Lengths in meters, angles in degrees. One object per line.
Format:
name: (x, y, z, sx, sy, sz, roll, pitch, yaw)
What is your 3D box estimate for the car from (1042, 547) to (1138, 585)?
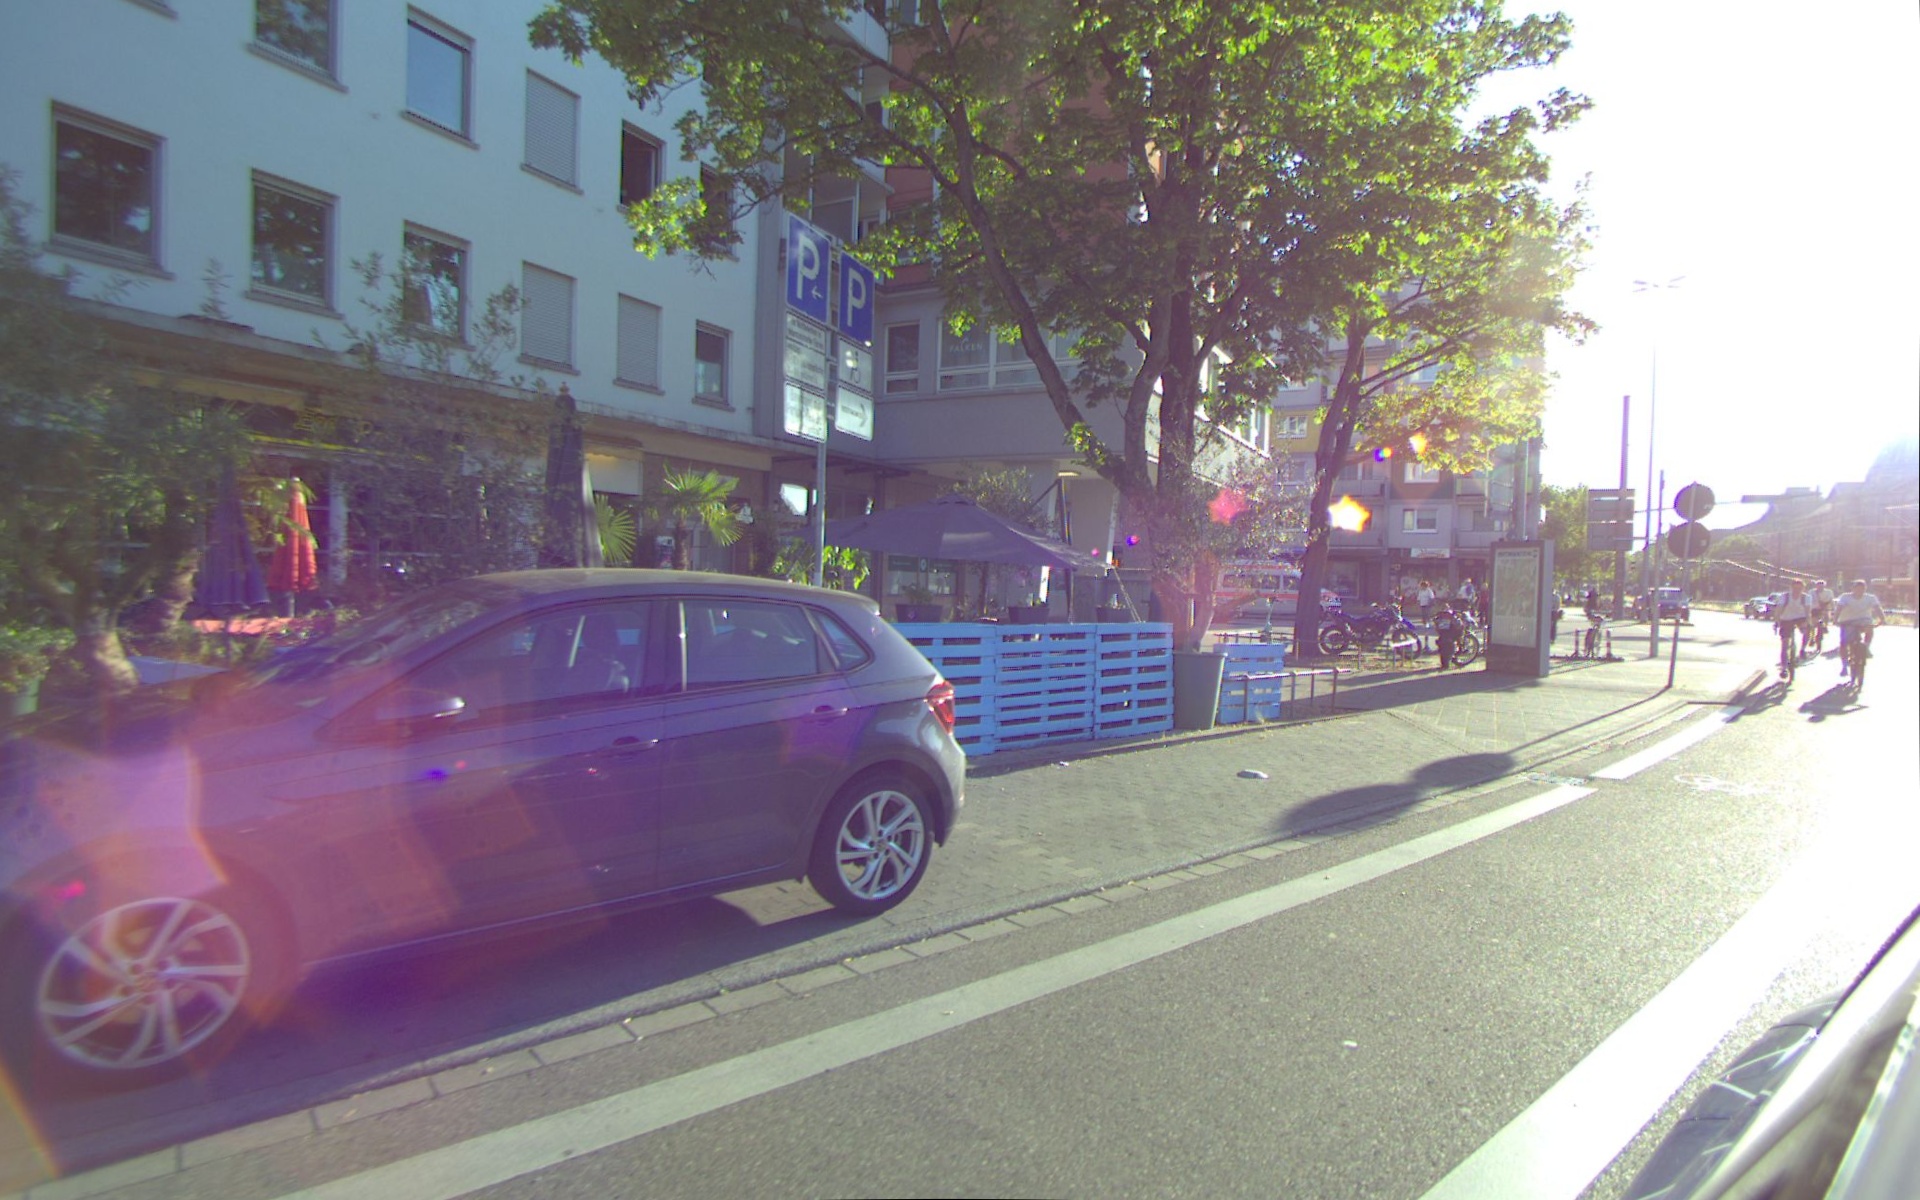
car: (5.911, -1.552, 46.072, 4.048, 1.590, 1.581, 2, 1, 28)

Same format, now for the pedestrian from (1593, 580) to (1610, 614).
pedestrian: (32.786, -0.165, 51.743, 0.659, 1.725, 1.059, 2, 1, 33)

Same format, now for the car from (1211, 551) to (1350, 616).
car: (13.323, -0.727, 42.133, 5.221, 2.513, 1.906, 2, 1, 29)

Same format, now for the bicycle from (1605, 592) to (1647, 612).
bicycle: (37.699, 0.098, 57.317, 1.855, 1.074, 0.601, 2, 1, 27)

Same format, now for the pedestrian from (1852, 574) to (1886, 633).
pedestrian: (26.443, 0.093, 29.453, 0.676, 1.669, 0.889, 1, 1, 40)

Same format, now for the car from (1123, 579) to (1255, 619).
car: (8.827, -0.061, 39.107, 4.639, 1.357, 1.820, 2, 1, 31)

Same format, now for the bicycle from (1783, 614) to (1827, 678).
bicycle: (15.120, 0.801, 18.118, 0.574, 1.041, 1.830, 1, 1, 40)

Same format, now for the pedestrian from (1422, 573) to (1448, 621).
pedestrian: (17.130, -0.122, 36.487, 0.724, 1.683, 0.896, 2, 1, 30)

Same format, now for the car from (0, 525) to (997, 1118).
car: (-1.880, 0.531, 4.178, 3.829, 1.489, 1.733, 0, 4, -39)

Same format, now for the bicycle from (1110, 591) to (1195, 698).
bicycle: (2.325, 0.496, 12.066, 0.418, 1.172, 1.736, 2, 1, 30)

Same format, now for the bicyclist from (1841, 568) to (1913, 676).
bicyclist: (16.188, 0.361, 17.895, 0.825, 1.830, 1.042, 2, 1, 39)

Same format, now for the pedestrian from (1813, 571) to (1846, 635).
pedestrian: (22.946, 0.065, 26.722, 0.637, 1.669, 0.831, 1, 1, 41)

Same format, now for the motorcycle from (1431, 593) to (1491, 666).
motorcycle: (9.319, 0.500, 18.797, 0.664, 1.258, 2.173, 2, 1, 35)

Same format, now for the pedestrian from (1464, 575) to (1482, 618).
pedestrian: (20.808, -0.157, 41.048, 0.565, 1.722, 0.803, 2, 1, 30)

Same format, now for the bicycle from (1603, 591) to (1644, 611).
bicycle: (38.170, 0.043, 58.221, 1.855, 1.074, 0.601, 2, 1, 27)

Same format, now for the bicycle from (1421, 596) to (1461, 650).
bicycle: (11.270, 0.514, 23.674, 0.641, 1.172, 2.101, 2, 1, 30)

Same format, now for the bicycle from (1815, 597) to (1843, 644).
bicycle: (22.899, 0.531, 26.684, 0.528, 1.173, 1.822, 1, 1, 40)

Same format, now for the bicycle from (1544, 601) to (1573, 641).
bicycle: (16.500, 0.560, 27.868, 0.519, 0.992, 1.827, 2, 3, 35)

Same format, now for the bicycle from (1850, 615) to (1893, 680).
bicycle: (16.186, 0.813, 17.998, 0.477, 1.041, 1.953, 1, 1, 40)

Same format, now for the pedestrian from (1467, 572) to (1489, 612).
pedestrian: (22.799, -0.373, 44.564, 0.779, 1.722, 1.016, 2, 1, 30)

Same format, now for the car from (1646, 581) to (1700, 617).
car: (41.098, -0.100, 58.437, 1.926, 1.957, 4.783, 2, 2, 29)

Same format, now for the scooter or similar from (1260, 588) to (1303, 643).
scooter or similar: (7.628, 0.367, 24.025, 1.162, 1.270, 0.416, 0, 1, -42)

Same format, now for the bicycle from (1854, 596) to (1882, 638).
bicycle: (26.495, 0.473, 29.533, 0.528, 1.173, 1.822, 1, 1, 40)

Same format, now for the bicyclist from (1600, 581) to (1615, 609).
bicyclist: (42.310, -0.339, 66.134, 0.738, 1.830, 1.371, 2, 1, 31)

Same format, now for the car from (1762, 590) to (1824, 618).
car: (53.430, 0.230, 65.013, 1.937, 1.734, 4.808, -1, 0, 26)

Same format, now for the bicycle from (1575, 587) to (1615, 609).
bicycle: (37.652, -0.133, 59.995, 1.855, 1.139, 0.602, 5, 2, 26)

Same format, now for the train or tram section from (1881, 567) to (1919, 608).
train or tram section: (85.561, -1.063, 89.464, 2.756, 3.580, 13.124, 2, 2, 27)

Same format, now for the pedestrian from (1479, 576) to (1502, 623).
pedestrian: (19.407, -0.019, 37.037, 0.678, 1.683, 0.739, 2, 1, 30)

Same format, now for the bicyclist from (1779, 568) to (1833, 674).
bicyclist: (15.150, 0.348, 18.140, 0.673, 1.830, 0.980, 2, 1, 39)

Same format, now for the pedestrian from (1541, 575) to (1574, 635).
pedestrian: (16.462, 0.129, 27.880, 0.673, 1.609, 0.752, 2, 3, 35)

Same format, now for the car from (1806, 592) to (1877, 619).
car: (49.522, 0.307, 56.971, 1.825, 1.418, 4.544, -1, 0, 25)

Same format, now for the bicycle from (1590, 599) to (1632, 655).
bicycle: (14.175, 0.565, 22.075, 0.641, 1.141, 1.854, 2, 1, 30)

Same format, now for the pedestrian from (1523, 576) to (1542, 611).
pedestrian: (26.577, -0.291, 46.991, 0.679, 1.609, 0.738, 2, 1, 33)

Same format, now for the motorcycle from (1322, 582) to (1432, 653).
motorcycle: (8.898, 0.344, 21.647, 2.039, 1.424, 0.750, 2, 1, 37)
